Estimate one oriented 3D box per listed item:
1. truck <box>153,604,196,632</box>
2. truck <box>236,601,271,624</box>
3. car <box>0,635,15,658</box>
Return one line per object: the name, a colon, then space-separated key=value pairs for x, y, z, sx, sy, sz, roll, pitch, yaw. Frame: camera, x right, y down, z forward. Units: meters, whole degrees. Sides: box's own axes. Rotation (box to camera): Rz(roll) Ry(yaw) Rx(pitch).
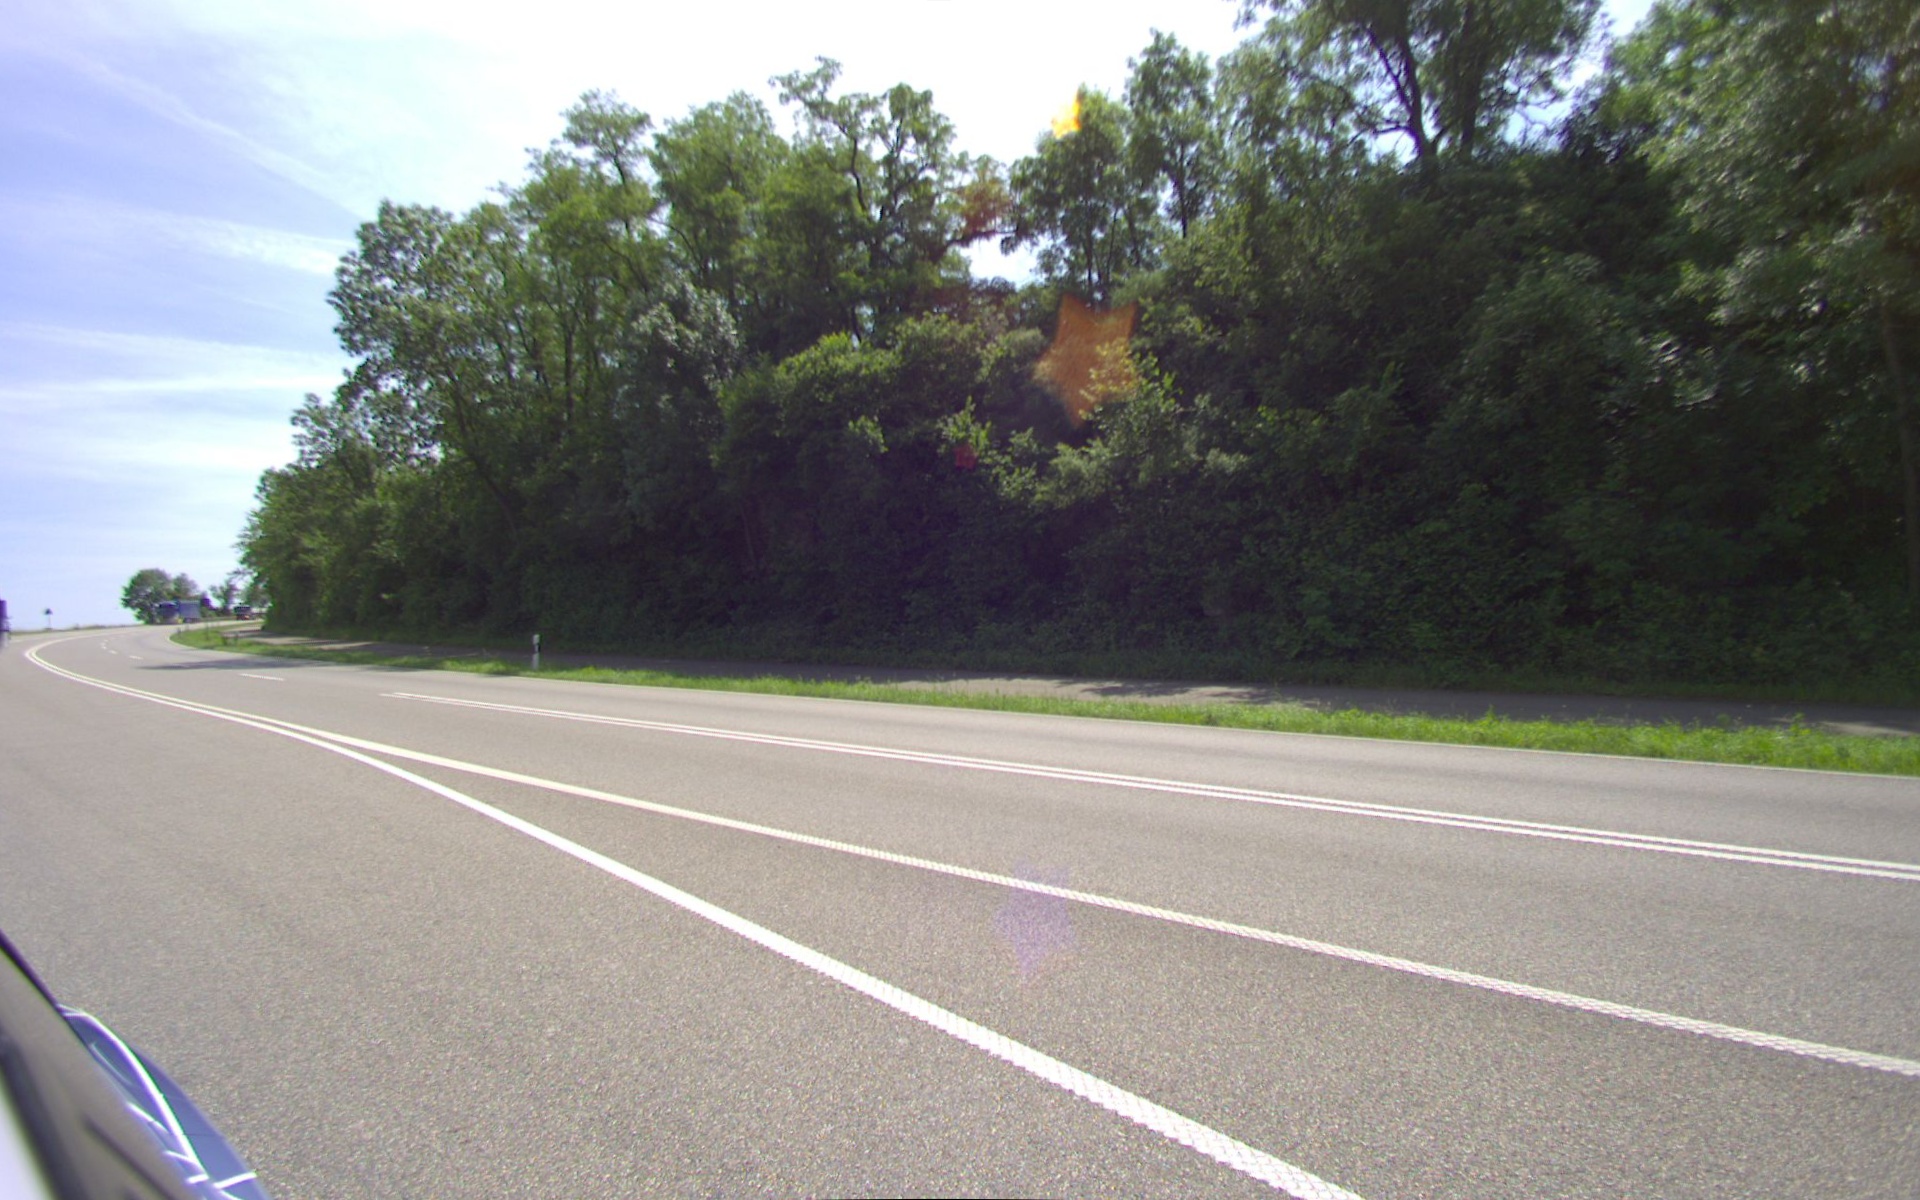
truck: x=-132.785 y=3.071 z=171.230 sx=4.327 sy=4.493 sz=14.753 roll=-1 pitch=-1 yaw=-33
truck: x=-149.634 y=2.677 z=214.400 sx=3.920 sy=4.493 sz=14.387 roll=-1 pitch=-1 yaw=-26
car: x=-83.188 y=4.009 z=87.505 sx=1.739 sy=1.874 sz=3.817 roll=0 pitch=0 yaw=-38
